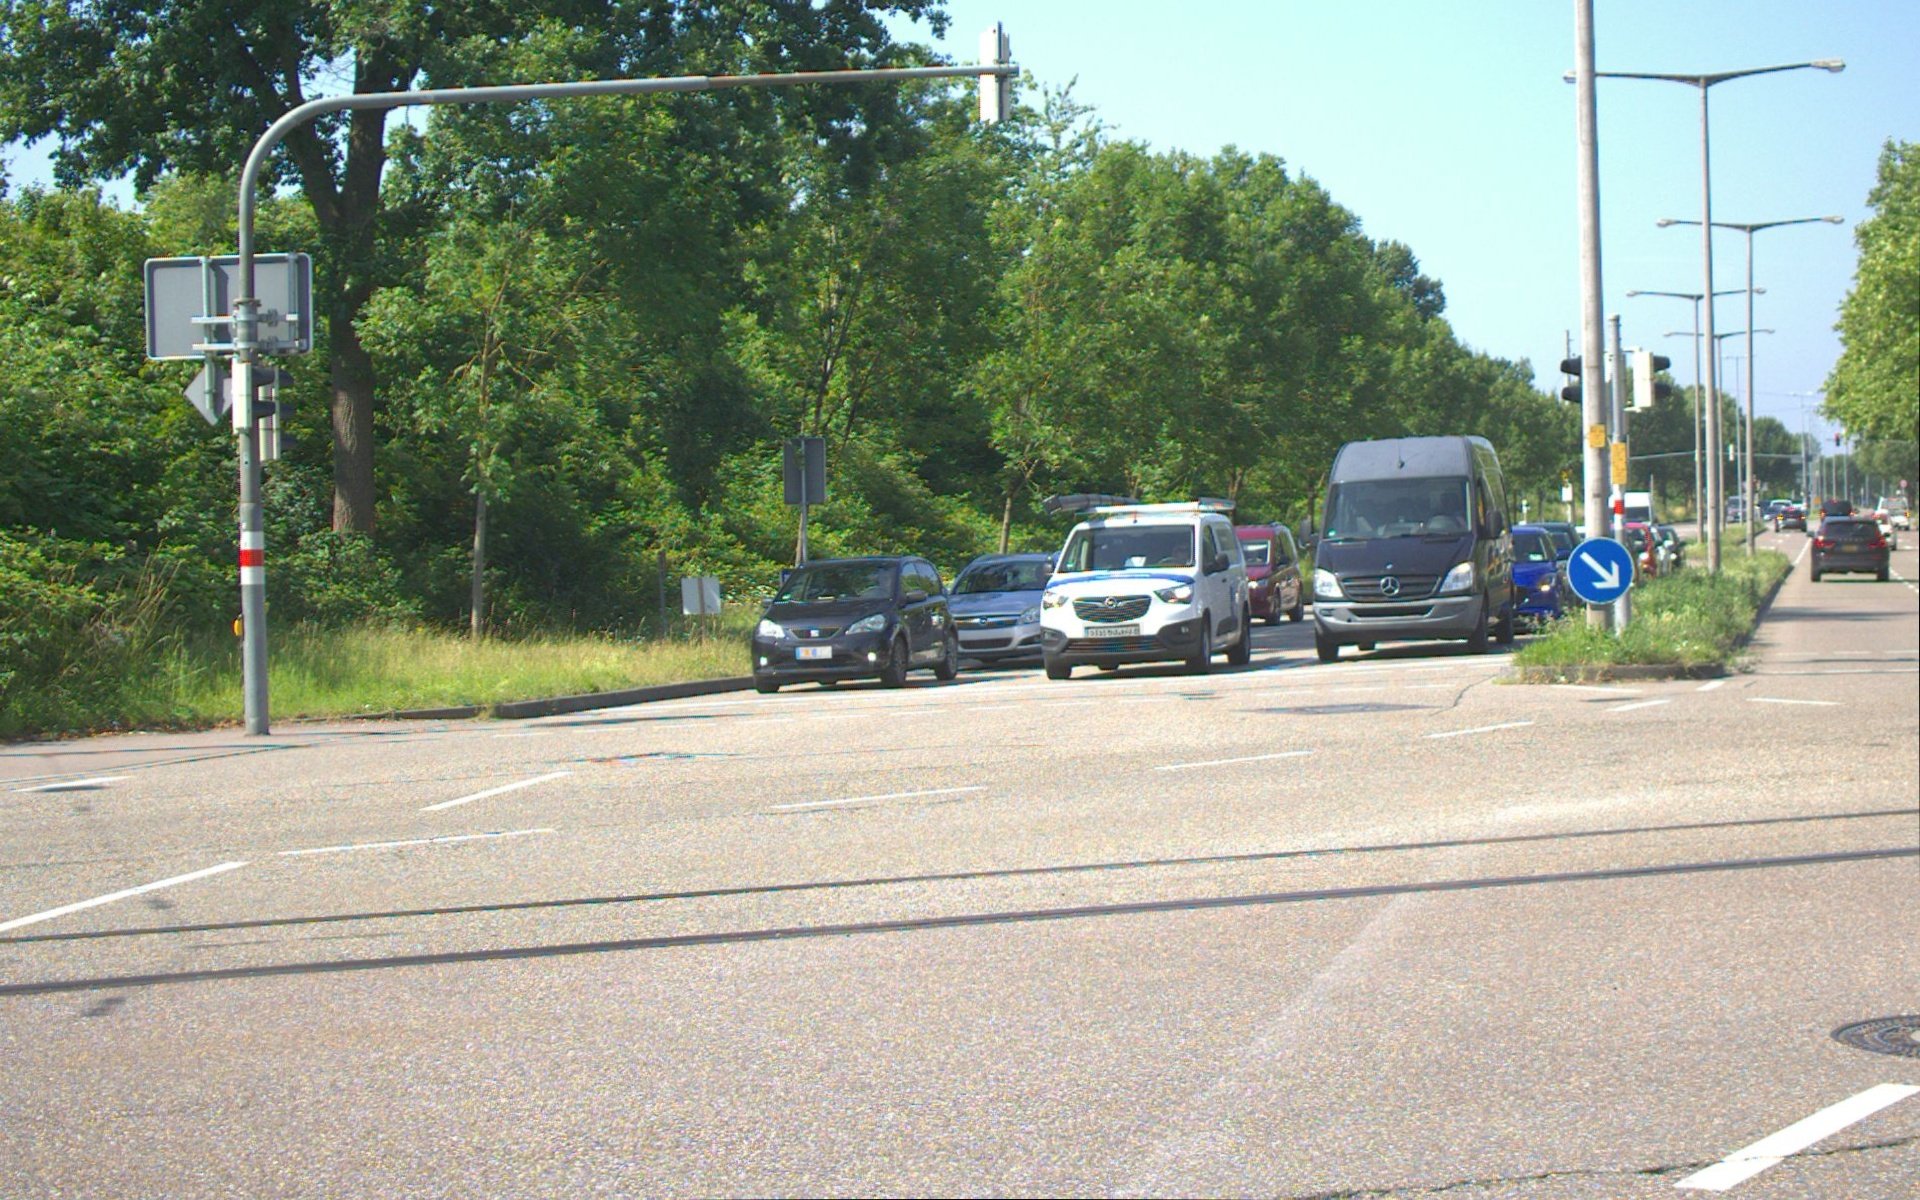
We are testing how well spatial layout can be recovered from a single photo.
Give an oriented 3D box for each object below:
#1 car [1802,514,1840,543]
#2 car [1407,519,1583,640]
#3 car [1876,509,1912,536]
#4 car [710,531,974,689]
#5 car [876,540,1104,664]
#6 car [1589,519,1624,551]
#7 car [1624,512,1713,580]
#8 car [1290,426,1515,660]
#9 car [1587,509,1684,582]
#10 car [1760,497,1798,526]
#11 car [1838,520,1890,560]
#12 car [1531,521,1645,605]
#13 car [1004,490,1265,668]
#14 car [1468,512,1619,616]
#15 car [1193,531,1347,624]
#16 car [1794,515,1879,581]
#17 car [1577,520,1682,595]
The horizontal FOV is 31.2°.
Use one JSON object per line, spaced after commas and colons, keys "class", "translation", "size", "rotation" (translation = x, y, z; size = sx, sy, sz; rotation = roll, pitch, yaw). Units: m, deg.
{"class": "car", "translation": [49.785, -4.121, 198.702], "size": [1.995, 1.579, 4.453], "rotation": [2, 1, 15]}
{"class": "car", "translation": [7.549, -0.298, 48.227], "size": [1.995, 1.579, 3.997], "rotation": [-1, 0, 15]}
{"class": "car", "translation": [55.957, -4.645, 206.040], "size": [1.995, 1.579, 4.453], "rotation": [2, 1, 15]}
{"class": "car", "translation": [-1.249, 0.087, 38.118], "size": [1.912, 1.636, 3.735], "rotation": [-1, 1, 15]}
{"class": "car", "translation": [0.457, 0.001, 45.071], "size": [1.995, 1.535, 4.233], "rotation": [-1, 1, 15]}
{"class": "car", "translation": [41.853, -4.213, 222.527], "size": [1.889, 2.007, 3.997], "rotation": [1, 1, 14]}
{"class": "car", "translation": [17.925, -1.362, 86.871], "size": [1.995, 1.634, 3.997], "rotation": [1, 1, 14]}
{"class": "car", "translation": [5.366, -0.665, 41.090], "size": [1.995, 2.598, 5.130], "rotation": [-1, 1, 15]}
{"class": "car", "translation": [16.011, -1.285, 81.383], "size": [1.995, 1.634, 3.997], "rotation": [1, 1, 14]}
{"class": "car", "translation": [47.401, -5.108, 198.993], "size": [1.995, 1.579, 4.453], "rotation": [2, 1, 15]}
{"class": "car", "translation": [36.950, -2.437, 140.443], "size": [1.995, 1.579, 4.453], "rotation": [2, 1, 15]}
{"class": "car", "translation": [12.882, -0.768, 70.395], "size": [1.995, 1.634, 3.997], "rotation": [1, 1, 14]}
{"class": "car", "translation": [2.051, -0.245, 38.884], "size": [1.995, 1.863, 4.770], "rotation": [-1, 1, 15]}
{"class": "car", "translation": [9.426, -0.587, 55.318], "size": [1.995, 1.579, 3.997], "rotation": [2, 1, 15]}
{"class": "car", "translation": [5.635, -0.427, 62.072], "size": [1.995, 1.579, 4.453], "rotation": [2, 1, 15]}
{"class": "car", "translation": [22.082, -1.314, 86.524], "size": [1.995, 1.579, 4.453], "rotation": [2, 1, 15]}
{"class": "car", "translation": [14.901, -0.956, 76.388], "size": [1.995, 1.579, 3.997], "rotation": [2, 1, 15]}
